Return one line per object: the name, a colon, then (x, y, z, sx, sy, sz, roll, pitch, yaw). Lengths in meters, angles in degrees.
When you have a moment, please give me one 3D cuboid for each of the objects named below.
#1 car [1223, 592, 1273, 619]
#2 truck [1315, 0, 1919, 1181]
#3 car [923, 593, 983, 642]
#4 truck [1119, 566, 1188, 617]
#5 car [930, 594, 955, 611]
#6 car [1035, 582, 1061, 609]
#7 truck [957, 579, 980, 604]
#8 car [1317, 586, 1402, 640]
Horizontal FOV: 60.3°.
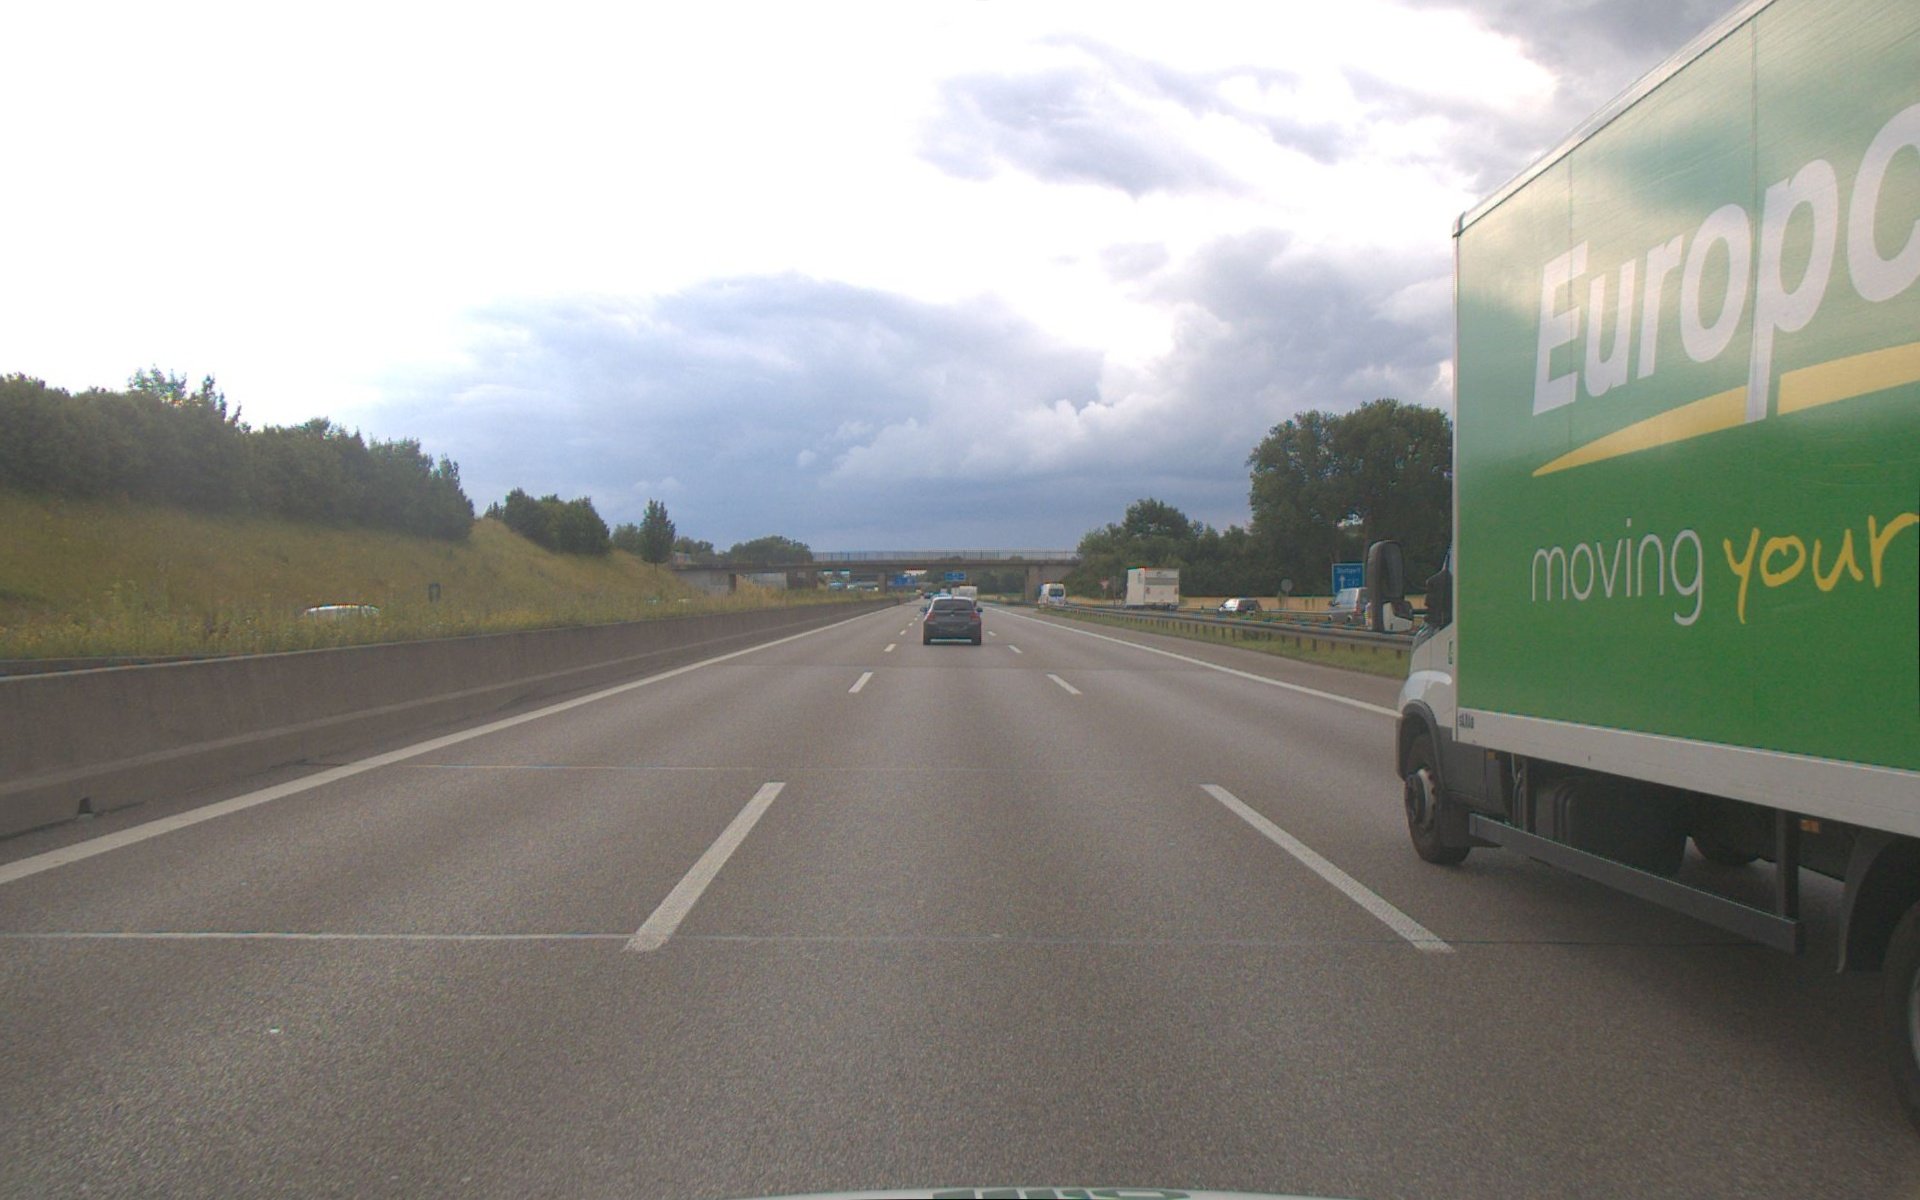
car: (17.631, 0.346, 101.403, 1.880, 1.577, 4.920, -1, 0, -4)
truck: (3.795, -0.295, 6.453, 2.714, 3.566, 9.060, 1, 0, -1)
car: (-0.231, 0.502, 50.009, 1.708, 1.413, 3.999, 1, 0, -1)
truck: (14.010, -0.612, 120.543, 3.045, 3.531, 8.879, 1, 0, -6)
car: (-1.404, 0.165, 133.192, 1.953, 1.321, 3.999, -1, 0, -1)
car: (8.807, -0.482, 165.414, 2.176, 2.613, 6.255, 0, 0, -1)
truck: (1.062, -1.068, 214.463, 2.655, 3.016, 12.444, 1, 0, -1)
car: (16.418, 0.511, 68.205, 2.101, 2.099, 4.955, 1, 0, -3)
